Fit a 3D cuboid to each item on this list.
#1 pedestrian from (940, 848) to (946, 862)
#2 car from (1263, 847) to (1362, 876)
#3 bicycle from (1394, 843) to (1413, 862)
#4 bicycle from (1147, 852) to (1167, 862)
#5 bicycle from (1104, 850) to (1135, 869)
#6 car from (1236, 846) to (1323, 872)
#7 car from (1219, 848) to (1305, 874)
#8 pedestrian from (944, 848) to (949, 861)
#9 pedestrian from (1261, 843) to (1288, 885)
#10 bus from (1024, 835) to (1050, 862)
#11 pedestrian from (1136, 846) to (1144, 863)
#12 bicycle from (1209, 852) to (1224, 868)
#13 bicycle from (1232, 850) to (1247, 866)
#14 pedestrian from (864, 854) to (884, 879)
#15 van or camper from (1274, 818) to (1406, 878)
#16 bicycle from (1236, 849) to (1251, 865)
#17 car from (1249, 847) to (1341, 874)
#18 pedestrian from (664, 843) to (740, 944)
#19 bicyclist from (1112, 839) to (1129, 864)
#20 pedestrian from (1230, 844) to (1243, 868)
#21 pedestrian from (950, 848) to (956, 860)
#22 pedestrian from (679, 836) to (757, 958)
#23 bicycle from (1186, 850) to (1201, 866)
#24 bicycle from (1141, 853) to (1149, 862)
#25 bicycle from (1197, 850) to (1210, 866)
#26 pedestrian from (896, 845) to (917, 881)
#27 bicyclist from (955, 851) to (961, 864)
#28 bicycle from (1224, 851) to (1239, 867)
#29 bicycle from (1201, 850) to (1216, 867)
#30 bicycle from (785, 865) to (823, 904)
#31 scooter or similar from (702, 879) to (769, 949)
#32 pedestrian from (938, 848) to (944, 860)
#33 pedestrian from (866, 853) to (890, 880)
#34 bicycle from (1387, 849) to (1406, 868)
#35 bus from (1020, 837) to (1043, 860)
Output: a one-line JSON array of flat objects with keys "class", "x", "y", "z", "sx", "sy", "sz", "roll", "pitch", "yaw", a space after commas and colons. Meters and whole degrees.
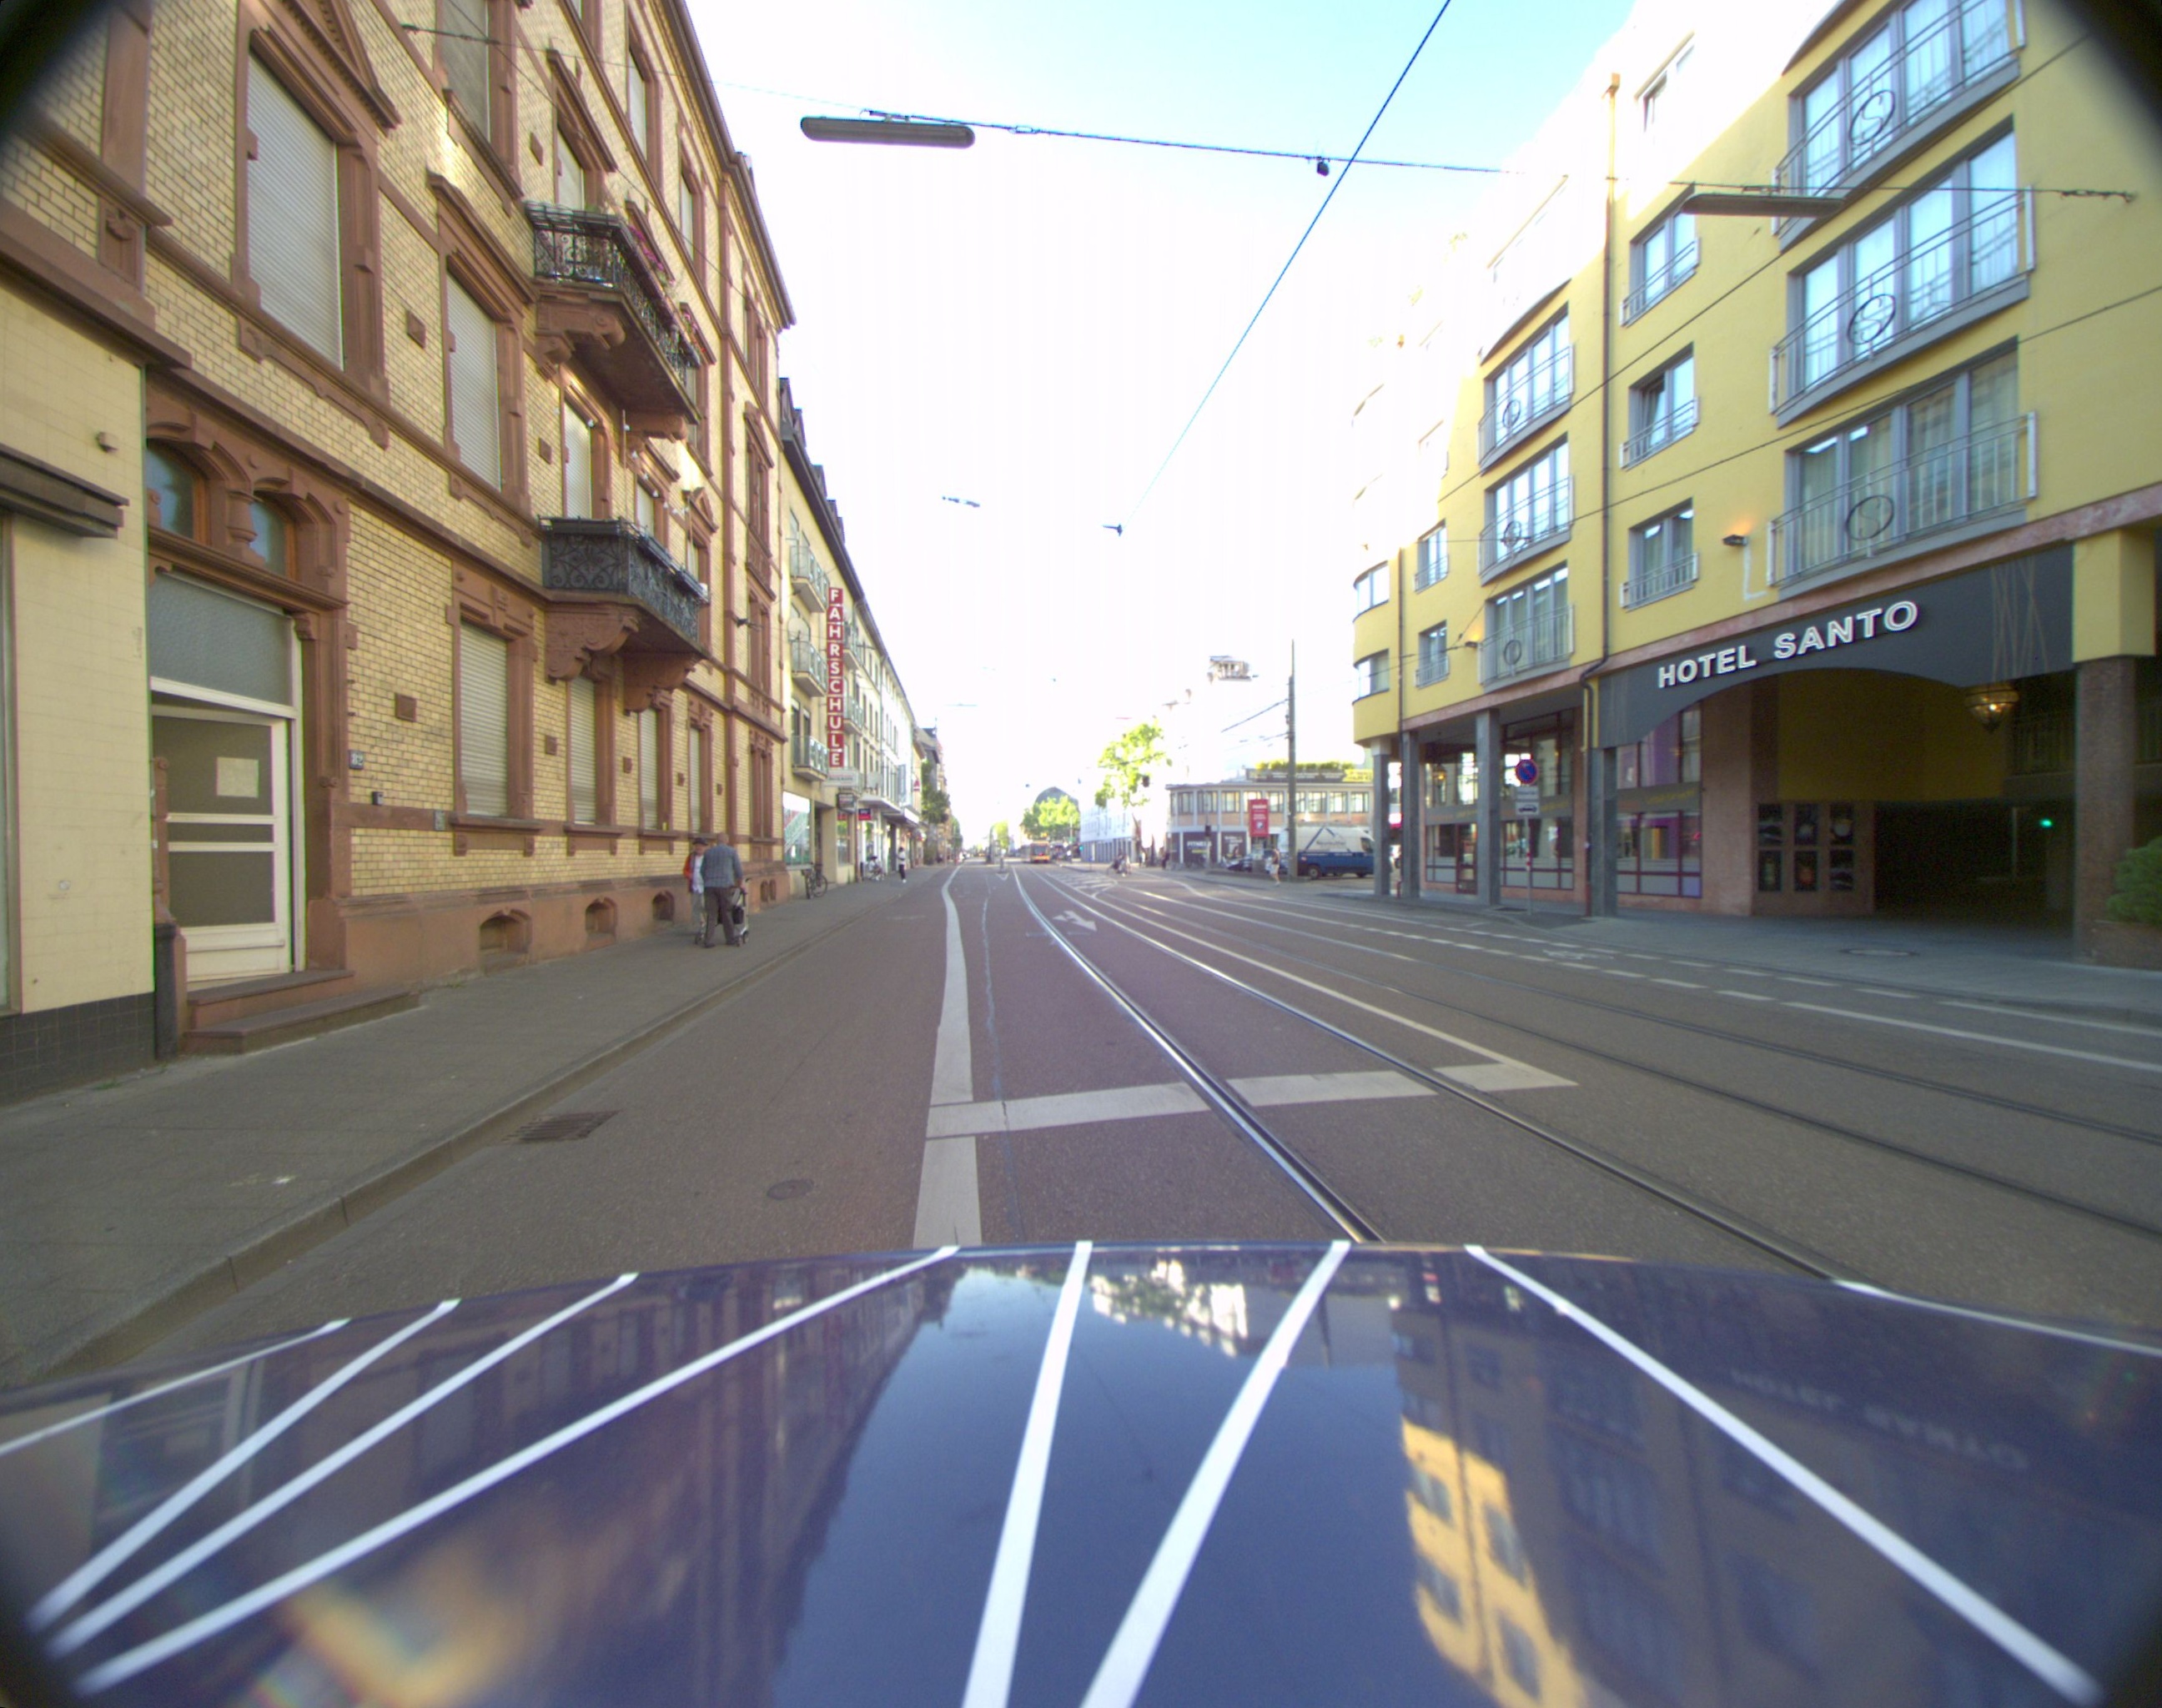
[{"class": "pedestrian", "x": -17.714, "y": 0.136, "z": 97.514, "sx": 0.651, "sy": 1.760, "sz": 0.696, "roll": -1, "pitch": 1, "yaw": -3}, {"class": "car", "x": 11.999, "y": 0.379, "z": 39.533, "sx": 4.603, "sy": 1.467, "sz": 1.878, "roll": 0, "pitch": 0, "yaw": -7}, {"class": "bicycle", "x": 20.795, "y": -0.073, "z": 49.057, "sx": 0.432, "sy": 1.180, "sz": 1.831, "roll": 0, "pitch": 0, "yaw": -1}, {"class": "bicycle", "x": 7.551, "y": 0.269, "z": 75.690, "sx": 1.850, "sy": 0.906, "sz": 0.389, "roll": -2, "pitch": -3, "yaw": -2}, {"class": "bicycle", "x": 2.413, "y": 0.331, "z": 47.630, "sx": 1.833, "sy": 1.164, "sz": 0.681, "roll": 0, "pitch": 3, "yaw": -21}, {"class": "car", "x": 11.765, "y": 0.276, "z": 45.135, "sx": 4.603, "sy": 1.467, "sz": 1.878, "roll": 0, "pitch": 0, "yaw": -7}, {"class": "car", "x": 11.245, "y": 0.426, "z": 47.318, "sx": 4.910, "sy": 1.574, "sz": 1.878, "roll": 0, "pitch": 0, "yaw": -7}, {"class": "pedestrian", "x": -17.282, "y": 0.092, "z": 97.652, "sx": 0.651, "sy": 1.706, "sz": 0.805, "roll": -1, "pitch": 1, "yaw": -15}, {"class": "pedestrian", "x": 8.381, "y": 0.433, "z": 32.970, "sx": 0.836, "sy": 1.822, "sz": 0.908, "roll": 0, "pitch": 0, "yaw": -8}, {"class": "bus", "x": -6.373, "y": -0.760, "z": 108.020, "sx": 2.820, "sy": 3.547, "sz": 13.668, "roll": -1, "pitch": 0, "yaw": -7}, {"class": "pedestrian", "x": 5.977, "y": 0.045, "z": 76.549, "sx": 0.630, "sy": 1.706, "sz": 0.826, "roll": 0, "pitch": 1, "yaw": 20}, {"class": "bicycle", "x": 10.129, "y": 0.435, "z": 56.763, "sx": 0.444, "sy": 1.180, "sz": 1.830, "roll": 0, "pitch": 0, "yaw": -11}, {"class": "bicycle", "x": 11.648, "y": 0.290, "z": 55.908, "sx": 0.449, "sy": 1.180, "sz": 1.830, "roll": 0, "pitch": 0, "yaw": -11}, {"class": "pedestrian", "x": -10.577, "y": 0.651, "z": 38.751, "sx": 0.708, "sy": 1.167, "sz": 1.013, "roll": 5, "pitch": -1, "yaw": -27}, {"class": "van or camper", "x": 12.571, "y": -0.290, "z": 37.090, "sx": 5.624, "sy": 2.810, "sz": 2.314, "roll": 0, "pitch": 0, "yaw": -7}, {"class": "bicycle", "x": 12.055, "y": 0.194, "z": 56.335, "sx": 0.449, "sy": 1.180, "sz": 1.830, "roll": 0, "pitch": 0, "yaw": -11}, {"class": "car", "x": 11.967, "y": 0.366, "z": 42.604, "sx": 4.603, "sy": 1.467, "sz": 1.878, "roll": 0, "pitch": 0, "yaw": -7}, {"class": "pedestrian", "x": -6.421, "y": 0.662, "z": 12.925, "sx": 0.800, "sy": 1.618, "sz": 0.825, "roll": 5, "pitch": -1, "yaw": -7}, {"class": "bicyclist", "x": 2.446, "y": -0.136, "z": 47.616, "sx": 0.838, "sy": 1.541, "sz": 0.690, "roll": 0, "pitch": 3, "yaw": -21}, {"class": "pedestrian", "x": 11.266, "y": 0.159, "z": 55.106, "sx": 0.683, "sy": 1.687, "sz": 0.683, "roll": 0, "pitch": 0, "yaw": -10}, {"class": "pedestrian", "x": -19.231, "y": -0.075, "z": 114.382, "sx": 0.808, "sy": 1.789, "sz": 0.761, "roll": -1, "pitch": 1, "yaw": -8}, {"class": "pedestrian", "x": -5.597, "y": 0.650, "z": 11.764, "sx": 0.808, "sy": 1.789, "sz": 0.761, "roll": 3, "pitch": 0, "yaw": -8}, {"class": "bicycle", "x": 8.473, "y": 0.311, "z": 57.062, "sx": 0.447, "sy": 1.180, "sz": 1.829, "roll": 0, "pitch": 0, "yaw": -14}, {"class": "bicycle", "x": 6.354, "y": 0.365, "z": 75.864, "sx": 0.389, "sy": 0.907, "sz": 1.850, "roll": -2, "pitch": 1, "yaw": -7}, {"class": "bicycle", "x": 9.090, "y": 0.323, "z": 56.553, "sx": 0.441, "sy": 1.180, "sz": 1.830, "roll": 0, "pitch": 0, "yaw": -8}, {"class": "pedestrian", "x": -9.012, "y": 0.461, "z": 39.188, "sx": 0.706, "sy": 1.801, "sz": 0.680, "roll": 5, "pitch": 0, "yaw": 8}, {"class": "bicyclist", "x": -15.349, "y": 0.376, "z": 94.855, "sx": 0.677, "sy": 1.604, "sz": 0.836, "roll": -1, "pitch": 1, "yaw": -9}, {"class": "bicycle", "x": 11.064, "y": 0.368, "z": 55.814, "sx": 0.449, "sy": 1.180, "sz": 1.830, "roll": 0, "pitch": 0, "yaw": -11}, {"class": "bicycle", "x": 9.518, "y": 0.333, "z": 56.799, "sx": 0.449, "sy": 1.180, "sz": 1.830, "roll": 0, "pitch": 0, "yaw": -11}, {"class": "bicycle", "x": -8.300, "y": 0.886, "z": 22.875, "sx": 0.557, "sy": 1.055, "sz": 2.309, "roll": 2, "pitch": 0, "yaw": -7}, {"class": "scooter or similar", "x": -5.643, "y": 0.968, "z": 12.438, "sx": 0.808, "sy": 1.064, "sz": 0.521, "roll": 4, "pitch": 0, "yaw": -8}, {"class": "pedestrian", "x": -17.930, "y": 0.038, "z": 97.433, "sx": 0.651, "sy": 1.569, "sz": 0.682, "roll": -1, "pitch": 1, "yaw": -15}, {"class": "pedestrian", "x": -10.129, "y": 0.631, "z": 37.861, "sx": 0.833, "sy": 1.248, "sz": 0.705, "roll": 6, "pitch": -1, "yaw": -43}, {"class": "bicycle", "x": 20.333, "y": 0.285, "z": 49.032, "sx": 0.432, "sy": 1.180, "sz": 1.831, "roll": 0, "pitch": 0, "yaw": -1}, {"class": "bus", "x": -7.960, "y": -0.854, "z": 121.259, "sx": 2.820, "sy": 3.547, "sz": 13.668, "roll": -1, "pitch": 0, "yaw": -7}]
